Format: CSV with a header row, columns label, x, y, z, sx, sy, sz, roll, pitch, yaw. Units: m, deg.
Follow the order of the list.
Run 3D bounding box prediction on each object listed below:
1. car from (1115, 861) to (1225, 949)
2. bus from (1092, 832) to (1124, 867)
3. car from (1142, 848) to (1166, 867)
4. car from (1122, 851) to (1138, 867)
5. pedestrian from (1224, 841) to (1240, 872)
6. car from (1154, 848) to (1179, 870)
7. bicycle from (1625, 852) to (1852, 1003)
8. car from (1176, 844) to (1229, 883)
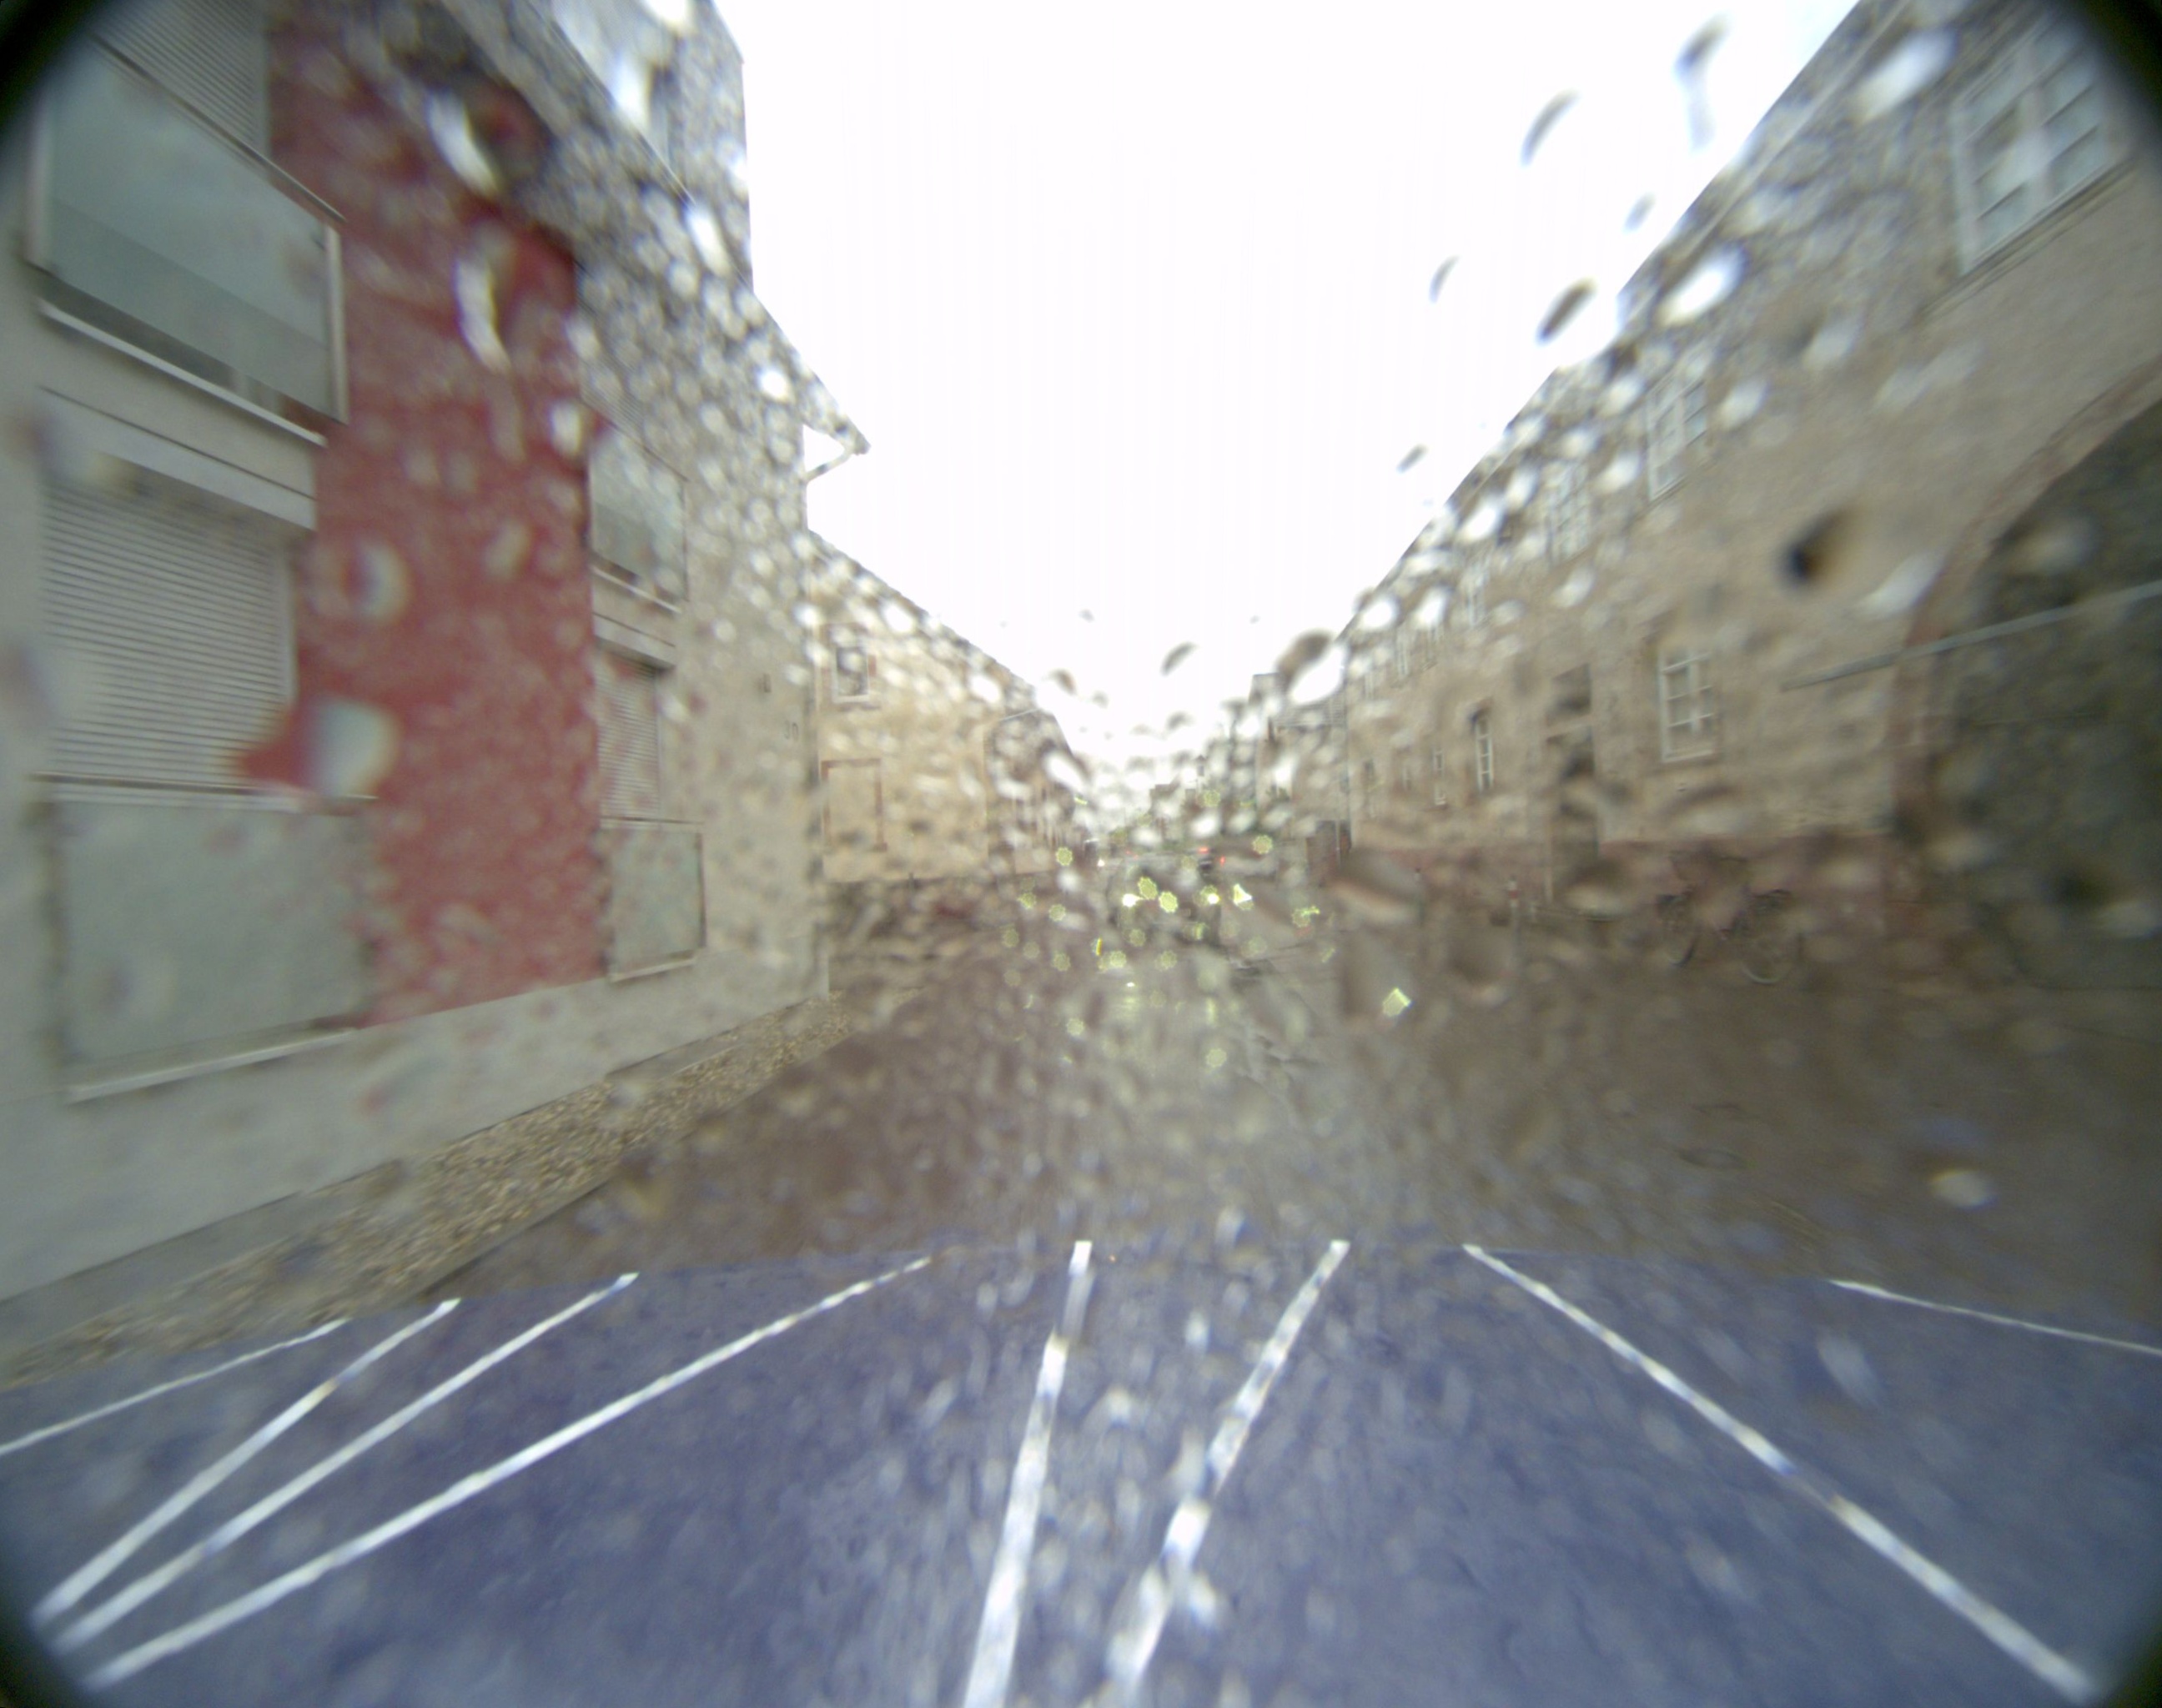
label,x,y,z,sx,sy,sz,roll,pitch,yaw
car,1.569,0.864,14.636,1.739,1.363,4.102,-1,0,2
bus,2.559,-0.466,76.397,2.668,3.213,12.189,-1,1,0
car,6.115,0.233,63.906,1.700,1.500,4.341,-1,1,2
car,5.357,0.522,82.654,1.626,1.502,3.793,-5,0,4
pedestrian,7.736,0.106,39.001,0.573,1.529,0.833,-4,1,0
car,6.215,0.342,55.521,1.608,1.504,3.688,-3,0,4
bicycle,5.902,0.586,6.983,0.483,1.171,1.875,-5,0,4
car,5.483,0.382,34.758,1.837,1.547,4.239,-5,1,3
